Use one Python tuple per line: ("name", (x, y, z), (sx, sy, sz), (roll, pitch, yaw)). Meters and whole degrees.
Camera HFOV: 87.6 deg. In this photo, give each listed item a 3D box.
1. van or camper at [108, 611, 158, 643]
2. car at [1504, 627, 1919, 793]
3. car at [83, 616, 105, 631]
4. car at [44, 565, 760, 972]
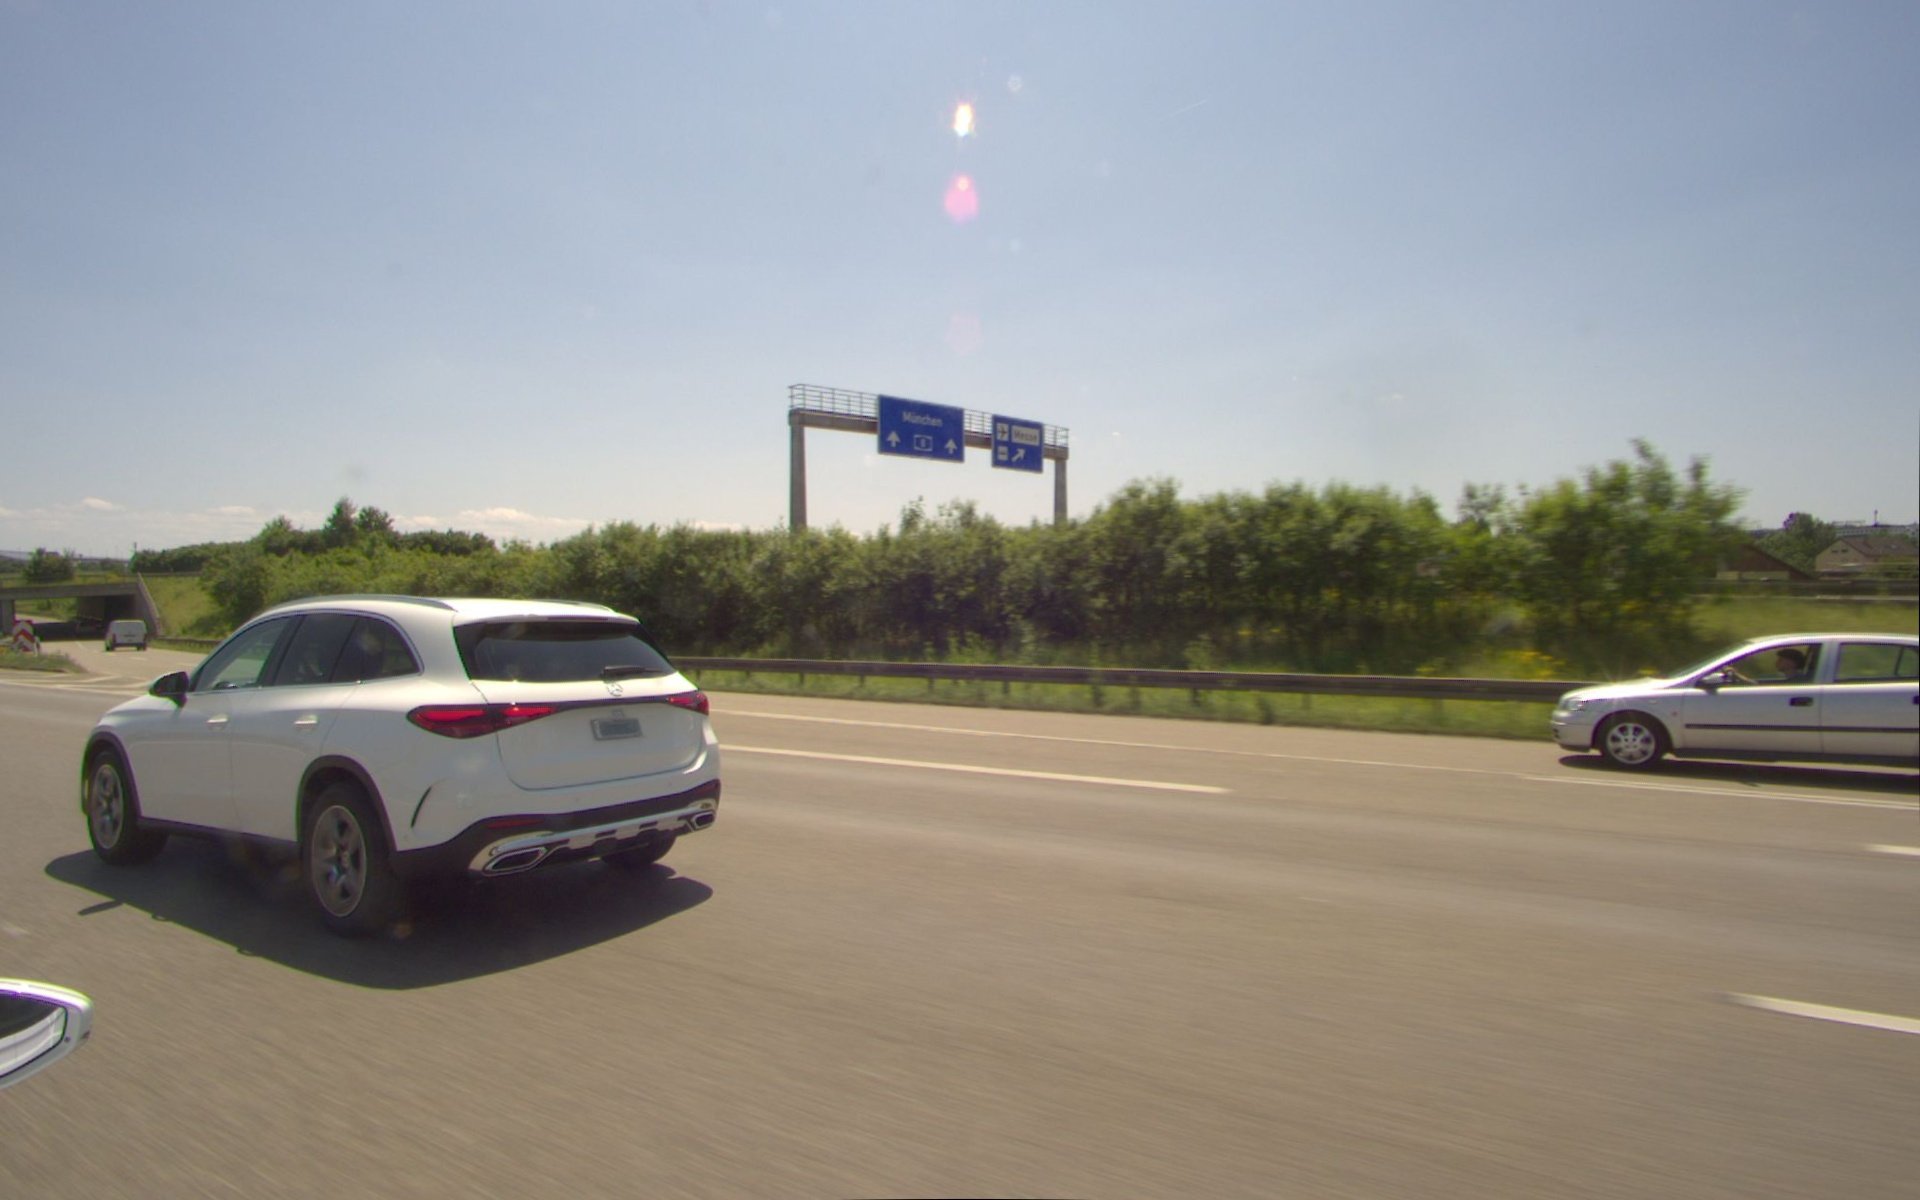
("van or camper", (-55.565, 1.820, 67.277), (4.260, 2.039, 2.143), (-2, -2, 44))
("car", (8.357, 1.021, 10.157), (4.786, 1.456, 1.779), (-2, -2, 37))
("car", (-105.943, 2.886, 122.480), (1.979, 1.772, 3.966), (0, -2, -41))
("car", (-3.708, 0.773, 6.278), (4.930, 1.668, 1.894), (-2, -1, 34))
